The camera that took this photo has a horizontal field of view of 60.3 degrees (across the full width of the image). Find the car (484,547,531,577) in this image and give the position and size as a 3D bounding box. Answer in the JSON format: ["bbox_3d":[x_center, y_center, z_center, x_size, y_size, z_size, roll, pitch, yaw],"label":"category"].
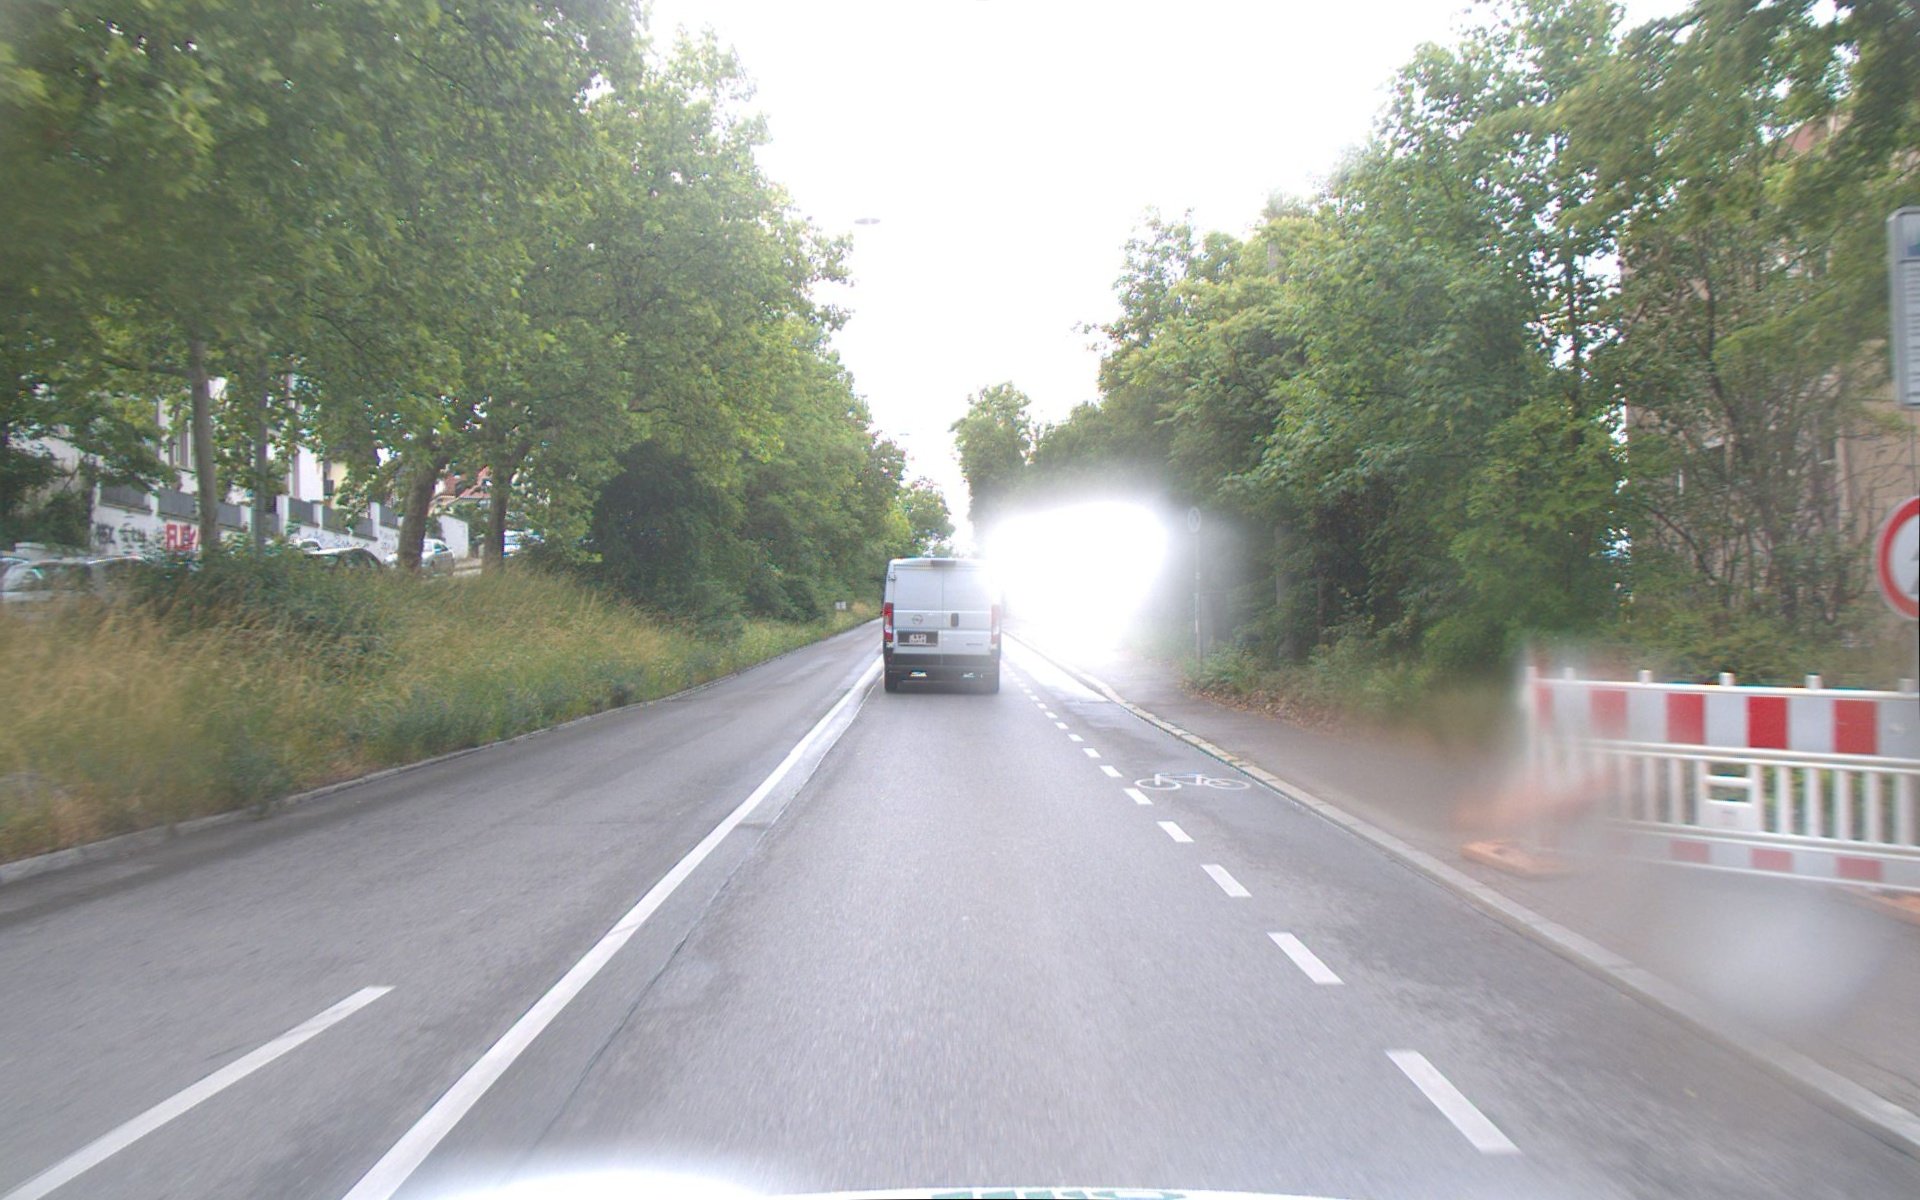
[{"bbox_3d":[-21.529,-1.796,78.772,1.568,1.272,2.908,-2,-2,-4],"label":"car"}]

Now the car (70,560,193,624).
[{"bbox_3d":[-19.296,-0.159,38.649,1.332,1.333,3.085,-2,-2,-1],"label":"car"}]

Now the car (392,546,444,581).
[{"bbox_3d":[-20.436,-1.372,62.407,1.189,1.153,2.451,-2,-2,-1],"label":"car"}]

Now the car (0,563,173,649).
[{"bbox_3d":[-12.548,0.117,23.705,1.323,1.115,2.751,-2,-2,-3],"label":"car"}]

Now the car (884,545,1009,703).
[{"bbox_3d":[-0.237,0.375,29.834,2.008,2.560,4.943,2,1,0],"label":"car"}]
